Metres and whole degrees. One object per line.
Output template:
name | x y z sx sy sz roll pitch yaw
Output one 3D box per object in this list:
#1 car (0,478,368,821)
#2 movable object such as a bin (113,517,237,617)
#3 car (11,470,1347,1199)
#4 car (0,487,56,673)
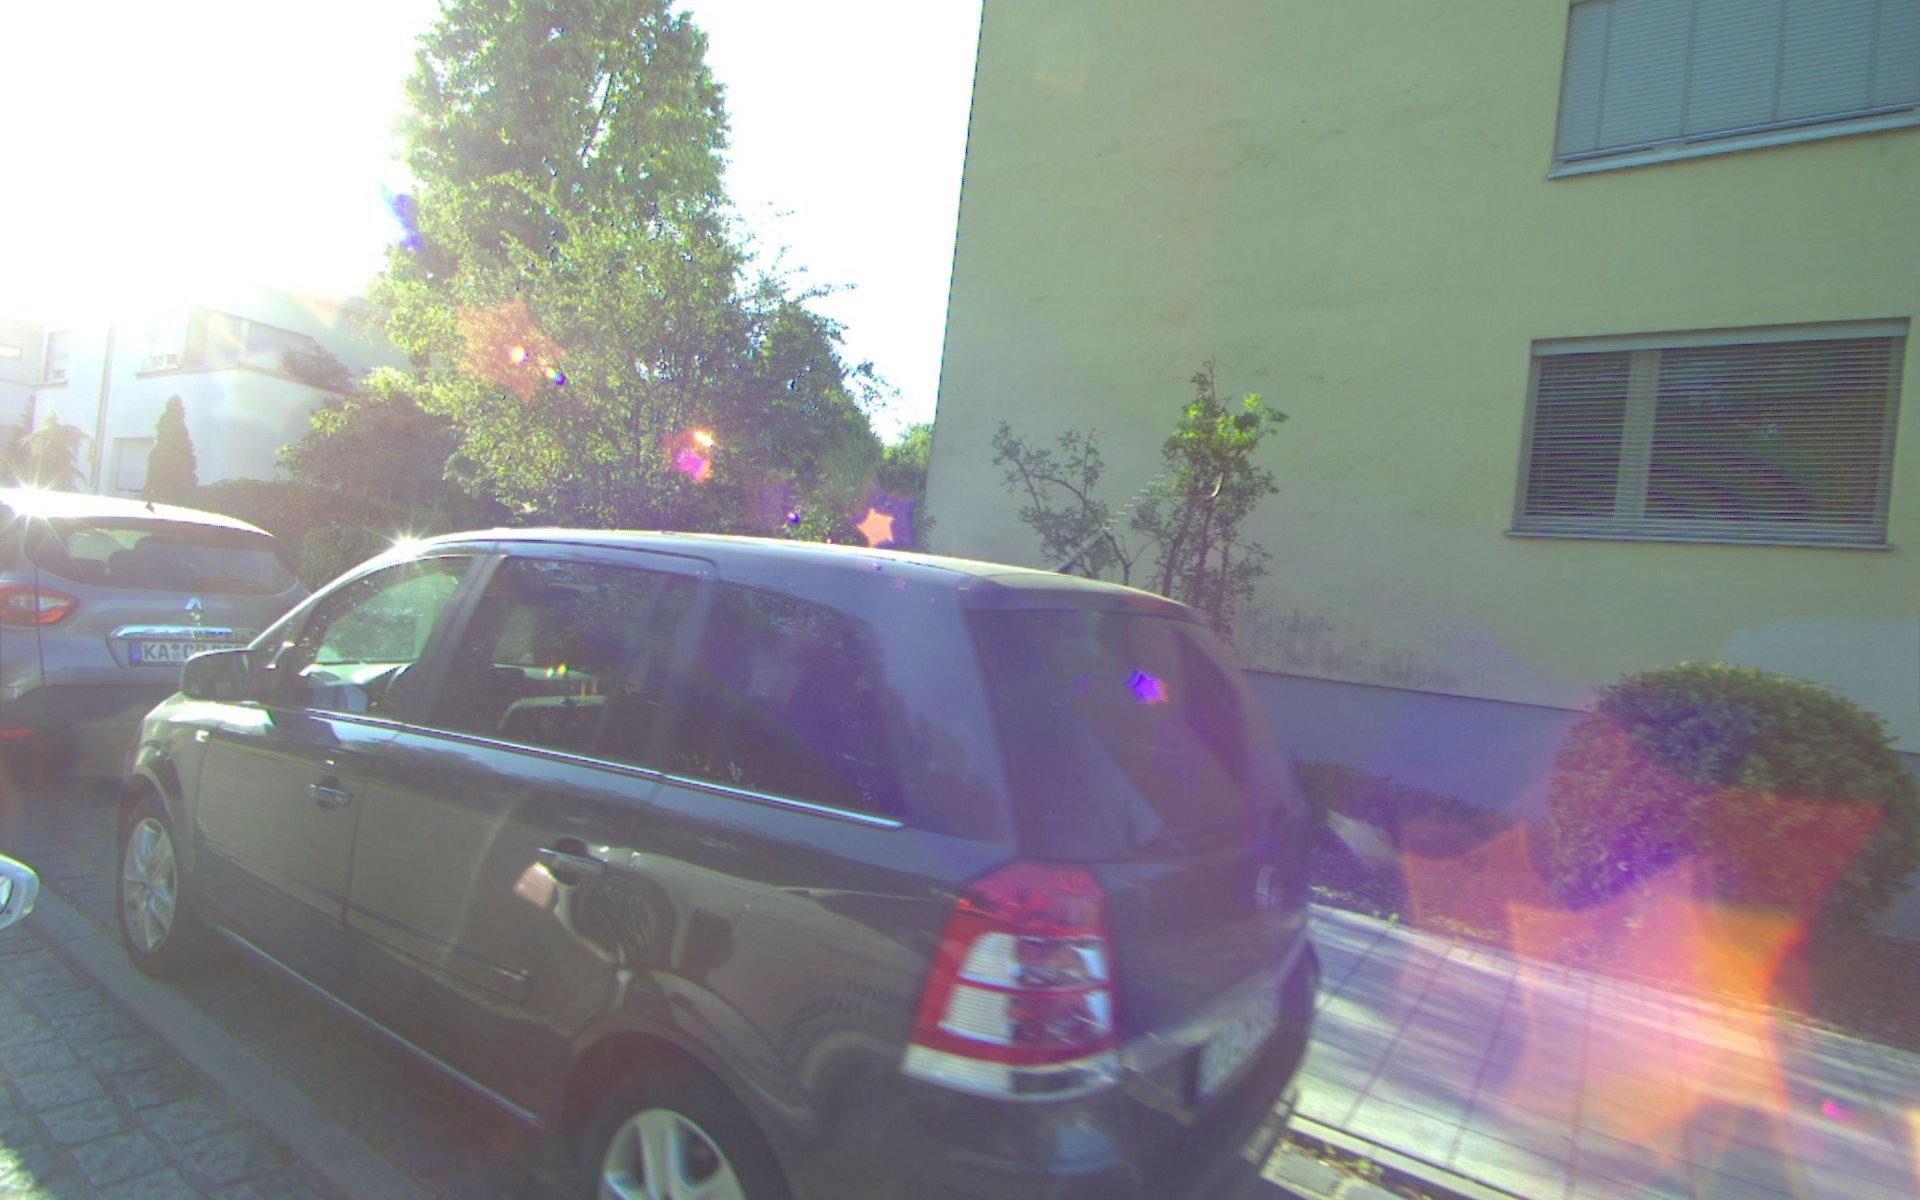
car | -5.679 0.119 6.325 4.078 1.575 1.679 6 0 34
movable object such as a bin | -13.013 -0.535 16.689 1.106 1.449 1.238 6 -2 36
car | -1.171 0.575 3.200 4.101 1.631 1.711 6 0 33
car | -10.071 -0.366 9.257 4.066 1.575 1.679 6 0 35
